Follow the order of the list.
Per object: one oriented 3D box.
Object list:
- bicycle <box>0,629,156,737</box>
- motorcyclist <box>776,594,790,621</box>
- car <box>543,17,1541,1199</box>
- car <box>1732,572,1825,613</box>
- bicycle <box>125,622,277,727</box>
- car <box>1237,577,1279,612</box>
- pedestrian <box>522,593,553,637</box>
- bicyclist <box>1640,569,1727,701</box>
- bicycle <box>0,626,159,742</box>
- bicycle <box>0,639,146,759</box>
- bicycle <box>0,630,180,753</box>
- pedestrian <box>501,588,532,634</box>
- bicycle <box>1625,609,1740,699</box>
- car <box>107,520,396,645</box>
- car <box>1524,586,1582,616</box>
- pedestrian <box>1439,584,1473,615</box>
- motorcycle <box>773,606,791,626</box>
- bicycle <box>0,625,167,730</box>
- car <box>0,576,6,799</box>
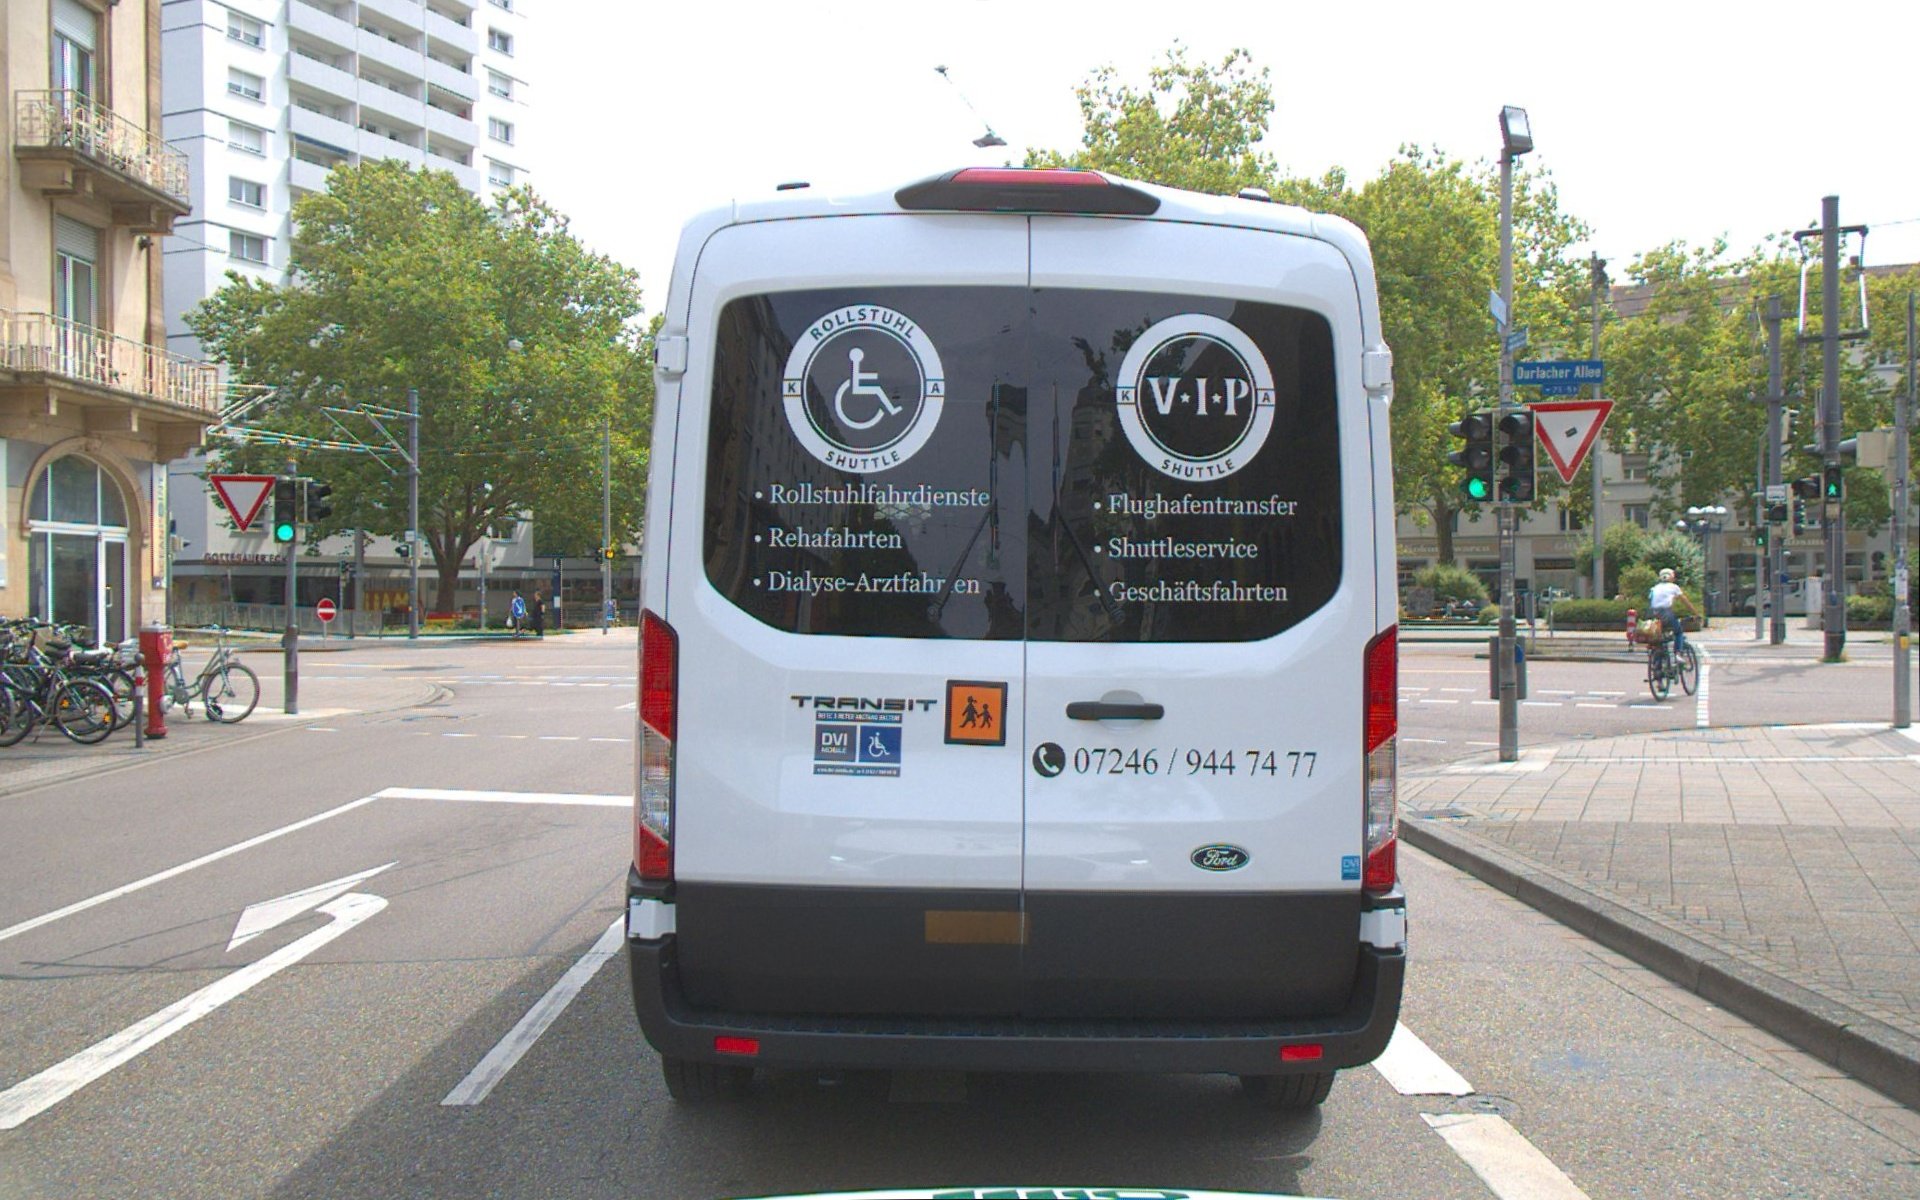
[{"bbox_3d":[-10.000,0.920,18.390,1.775,1.140,0.593,2,0,-9],"label":"bicycle"},{"bbox_3d":[-9.463,0.399,88.370,0.669,1.420,0.681,-1,0,-1],"label":"motorcyclist"},{"bbox_3d":[0.106,0.073,5.884,2.138,2.694,4.627,1,1,-2],"label":"car"},{"bbox_3d":[39.275,-0.365,79.471,3.907,1.916,1.857,-1,0,24],"label":"car"},{"bbox_3d":[-9.281,0.893,20.215,1.836,1.187,0.498,2,0,20],"label":"bicycle"},{"bbox_3d":[17.127,-0.323,95.231,1.951,1.964,4.002,-1,0,4],"label":"car"},{"bbox_3d":[-15.234,0.535,59.698,0.718,1.541,0.917,-1,0,-45],"label":"pedestrian"},{"bbox_3d":[9.624,0.454,22.004,0.890,1.713,0.753,0,0,40],"label":"bicyclist"},{"bbox_3d":[-9.670,0.892,17.784,1.775,1.186,0.593,2,0,-9],"label":"bicycle"},{"bbox_3d":[-9.080,0.972,16.384,1.771,1.140,0.594,-1,0,6],"label":"bicycle"},{"bbox_3d":[-9.086,0.931,17.058,1.771,1.140,0.594,3,0,3],"label":"bicycle"},{"bbox_3d":[-15.713,0.373,58.622,0.794,1.600,0.720,0,0,37],"label":"pedestrian"},{"bbox_3d":[9.662,0.694,22.073,0.889,1.093,1.960,0,1,40],"label":"bicycle"},{"bbox_3d":[-24.241,-0.563,56.528,9.686,3.984,3.454,0,0,24],"label":"car"},{"bbox_3d":[31.758,0.029,88.674,1.951,1.529,4.002,-1,0,4],"label":"car"},{"bbox_3d":[21.212,-0.020,70.737,1.068,1.257,1.441,-2,-1,4],"label":"pedestrian"},{"bbox_3d":[-9.447,0.844,87.802,0.669,0.988,2.323,-1,0,0],"label":"motorcycle"},{"bbox_3d":[-10.213,0.887,19.084,1.775,1.140,0.593,2,0,-9],"label":"bicycle"},{"bbox_3d":[-9.806,0.728,12.806,3.974,1.804,1.771,-1,1,-40],"label":"car"}]
